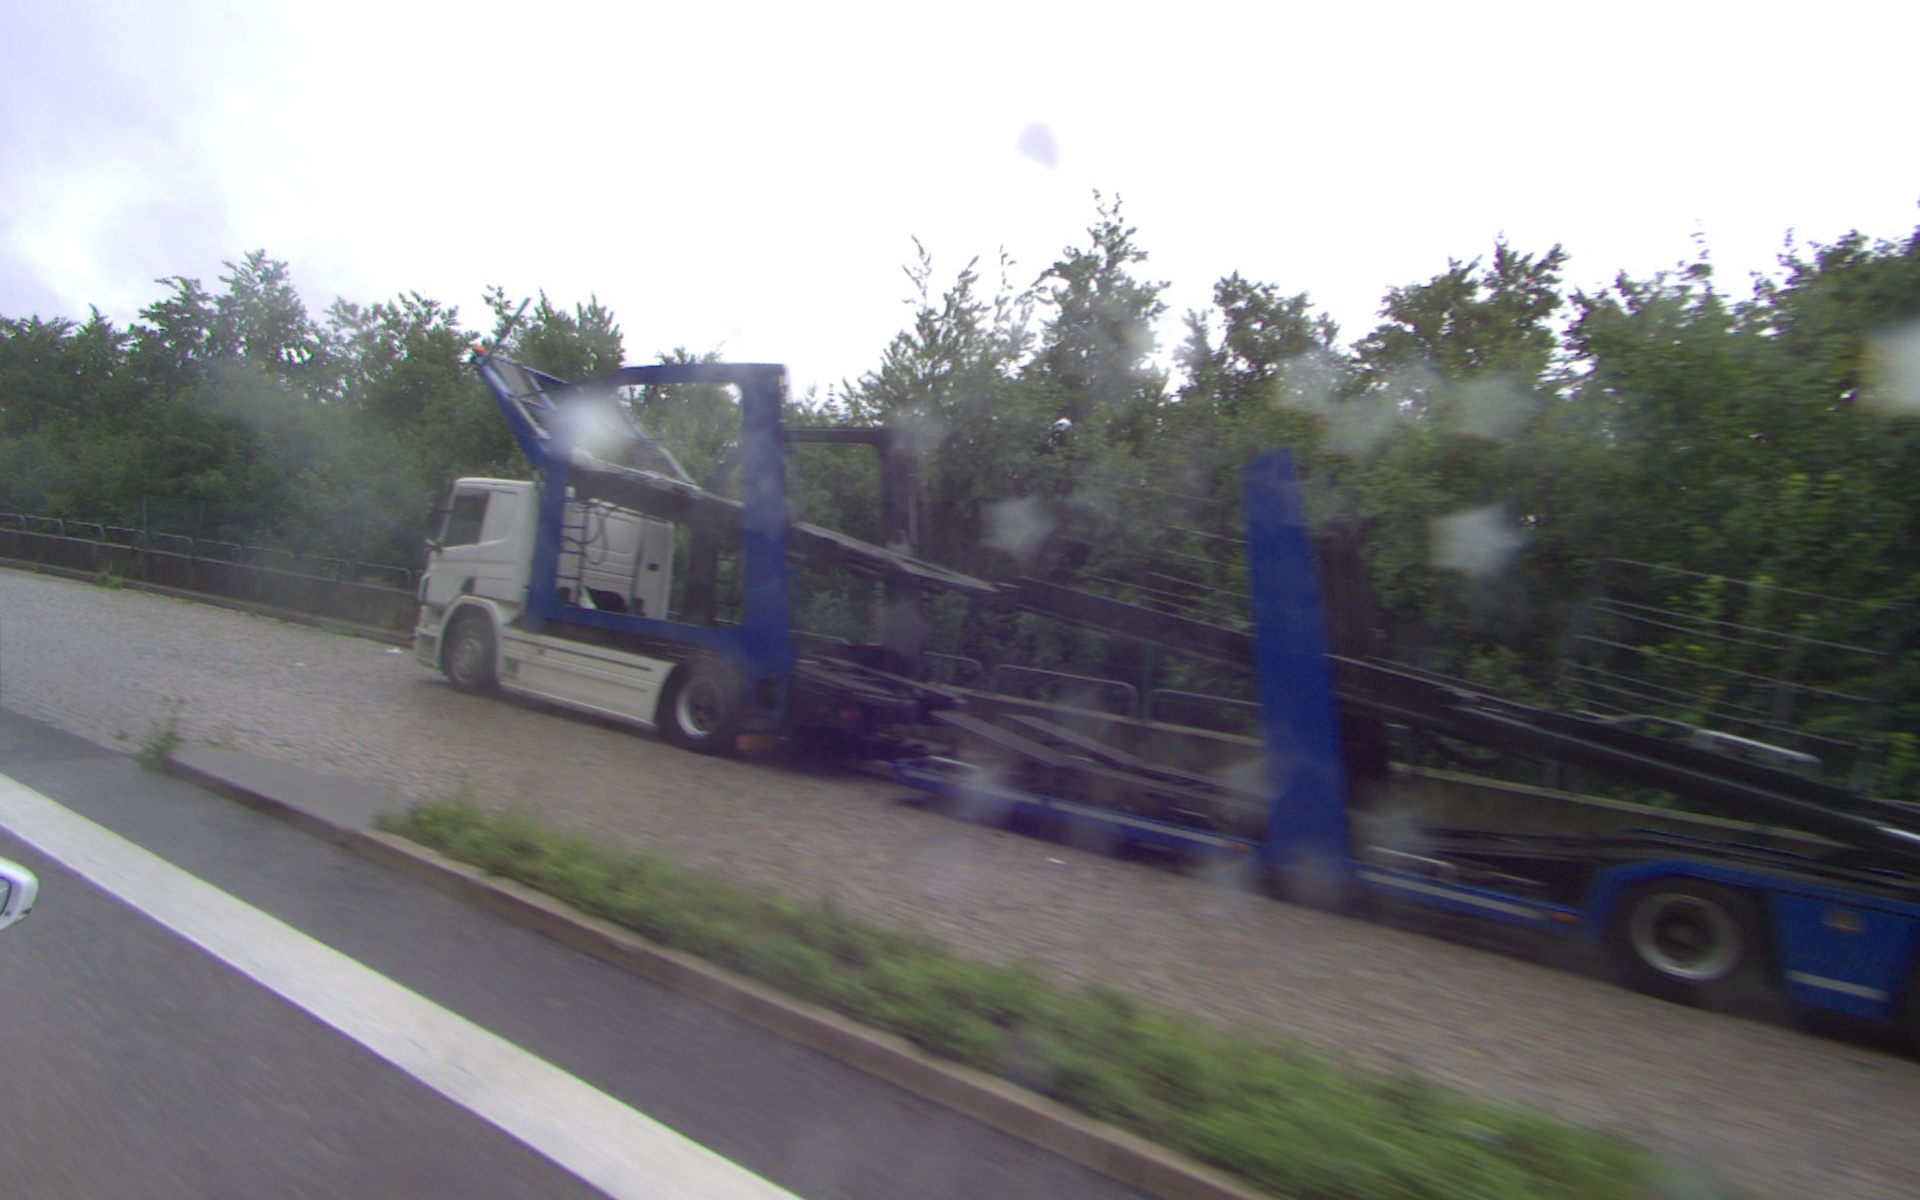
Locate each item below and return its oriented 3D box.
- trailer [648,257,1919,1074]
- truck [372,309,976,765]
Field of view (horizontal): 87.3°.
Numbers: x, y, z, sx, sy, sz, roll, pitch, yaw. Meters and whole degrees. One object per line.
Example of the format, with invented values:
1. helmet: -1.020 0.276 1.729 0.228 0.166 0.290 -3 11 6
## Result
1. trailer: 3.918 0.226 7.722 14.454 4.295 2.897 6 -1 32
2. truck: -3.671 -0.780 12.416 6.766 4.295 2.901 7 -1 31
